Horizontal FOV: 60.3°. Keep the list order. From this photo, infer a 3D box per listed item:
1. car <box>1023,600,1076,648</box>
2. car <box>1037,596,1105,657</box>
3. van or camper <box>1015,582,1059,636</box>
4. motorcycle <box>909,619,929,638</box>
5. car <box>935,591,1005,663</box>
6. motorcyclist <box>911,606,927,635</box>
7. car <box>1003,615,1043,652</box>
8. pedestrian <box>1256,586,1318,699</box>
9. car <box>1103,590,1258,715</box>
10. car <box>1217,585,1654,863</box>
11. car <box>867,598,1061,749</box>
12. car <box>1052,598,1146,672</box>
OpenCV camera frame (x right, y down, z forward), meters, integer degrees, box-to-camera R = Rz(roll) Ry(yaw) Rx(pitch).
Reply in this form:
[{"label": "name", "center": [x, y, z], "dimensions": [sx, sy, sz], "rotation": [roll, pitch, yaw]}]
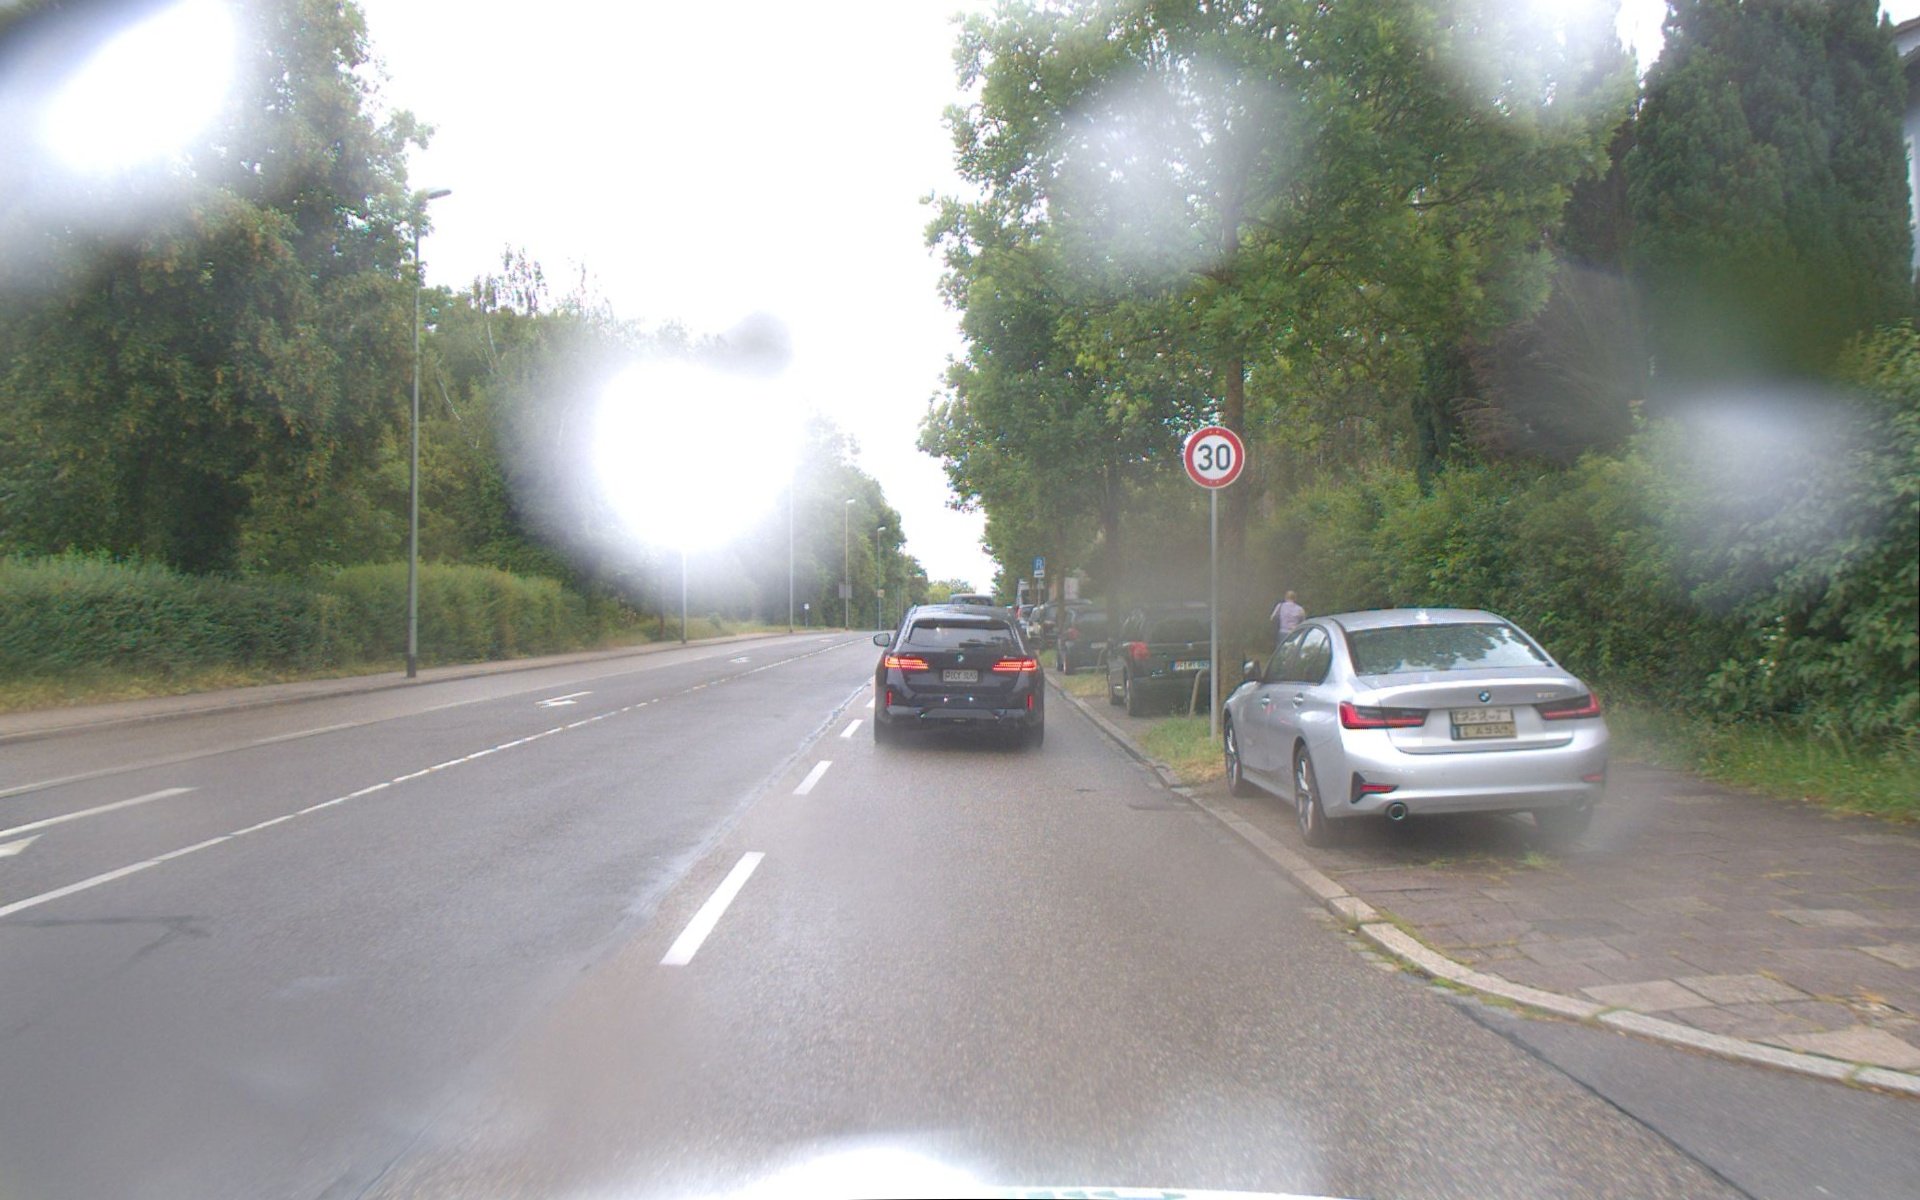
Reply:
[{"label": "car", "center": [3.338, 0.857, 61.244], "dimensions": [1.786, 1.631, 4.476], "rotation": [-2, 0, 4]}, {"label": "car", "center": [3.352, 0.793, 50.602], "dimensions": [1.786, 1.707, 4.585], "rotation": [-2, 0, 1]}, {"label": "van or camper", "center": [4.089, 0.460, 88.113], "dimensions": [2.152, 2.697, 7.303], "rotation": [-2, 0, 2]}, {"label": "motorcycle", "center": [-2.504, 1.743, 100.942], "dimensions": [0.804, 1.137, 2.191], "rotation": [1, 0, 10]}, {"label": "car", "center": [0.345, 0.802, 48.849], "dimensions": [1.952, 2.049, 4.001], "rotation": [0, -1, 2]}, {"label": "motorcyclist", "center": [-2.493, 1.242, 100.946], "dimensions": [0.793, 1.710, 0.652], "rotation": [1, -1, 10]}, {"label": "car", "center": [2.946, 1.530, 76.465], "dimensions": [1.633, 1.555, 3.833], "rotation": [-3, -1, 4]}, {"label": "pedestrian", "center": [5.101, 0.657, 25.829], "dimensions": [0.702, 1.709, 0.894], "rotation": [-1, -1, -3]}, {"label": "car", "center": [3.111, 0.696, 24.066], "dimensions": [1.608, 1.623, 4.013], "rotation": [-2, 0, -1]}, {"label": "car", "center": [3.104, 0.710, 11.844], "dimensions": [1.762, 1.548, 4.591], "rotation": [-2, 0, 0]}, {"label": "car", "center": [0.026, 0.785, 19.008], "dimensions": [1.953, 1.478, 3.999], "rotation": [2, -1, -1]}, {"label": "car", "center": [3.102, 0.748, 37.491], "dimensions": [1.687, 1.538, 3.785], "rotation": [-2, 0, -1]}]
